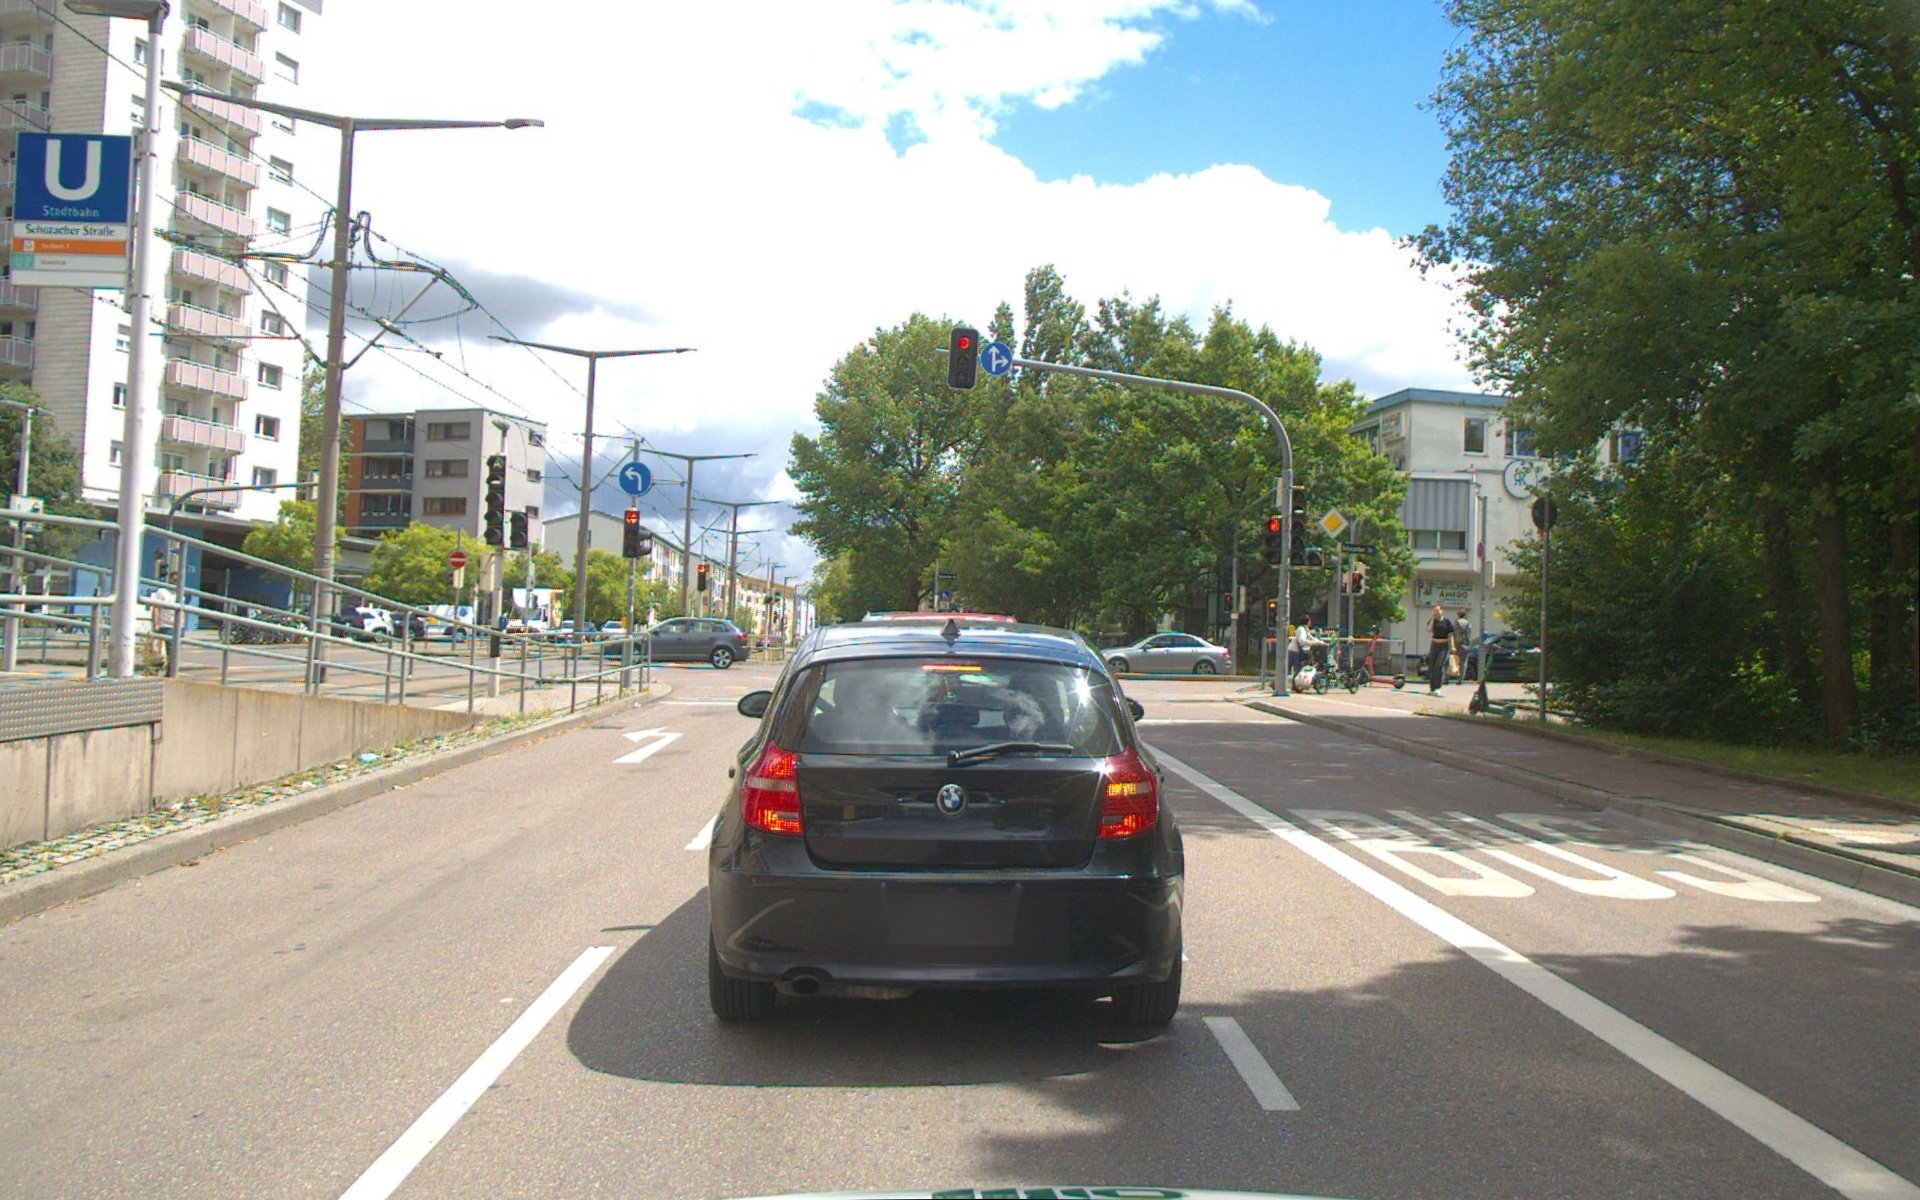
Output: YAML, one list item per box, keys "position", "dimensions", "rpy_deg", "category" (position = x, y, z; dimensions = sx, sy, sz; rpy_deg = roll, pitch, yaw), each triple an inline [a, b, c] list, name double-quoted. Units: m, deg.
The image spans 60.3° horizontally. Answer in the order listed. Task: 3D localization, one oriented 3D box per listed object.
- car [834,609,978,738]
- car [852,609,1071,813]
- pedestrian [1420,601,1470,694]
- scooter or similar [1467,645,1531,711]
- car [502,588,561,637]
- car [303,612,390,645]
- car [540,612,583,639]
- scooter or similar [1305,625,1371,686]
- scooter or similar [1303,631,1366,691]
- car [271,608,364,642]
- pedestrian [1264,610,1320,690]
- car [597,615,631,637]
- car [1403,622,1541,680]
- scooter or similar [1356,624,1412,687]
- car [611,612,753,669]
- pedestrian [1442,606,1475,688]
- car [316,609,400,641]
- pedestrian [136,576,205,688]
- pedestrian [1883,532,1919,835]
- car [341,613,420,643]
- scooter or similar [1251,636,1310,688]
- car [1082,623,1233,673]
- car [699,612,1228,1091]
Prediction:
- position: [-0.682, 0.851, 20.613]
  dimensions: [1.621, 1.443, 3.515]
  rpy_deg: [1, 0, -2]
  category: "car"
- position: [0.013, 0.813, 13.717]
  dimensions: [1.562, 1.443, 3.516]
  rpy_deg: [1, 0, 0]
  category: "car"
- position: [9.837, 0.957, 33.556]
  dimensions: [0.746, 1.821, 0.567]
  rpy_deg: [4, -1, 30]
  category: "pedestrian"
- position: [9.398, 1.360, 28.845]
  dimensions: [1.133, 1.118, 0.329]
  rpy_deg: [1, -1, -25]
  category: "scooter or similar"
- position: [-24.439, 0.713, 94.496]
  dimensions: [2.096, 2.686, 5.356]
  rpy_deg: [1, 0, -2]
  category: "car"
- position: [-28.747, 1.309, 77.576]
  dimensions: [3.537, 1.488, 1.613]
  rpy_deg: [1, 0, -9]
  category: "car"
- position: [-25.631, 1.640, 106.559]
  dimensions: [1.927, 1.624, 3.997]
  rpy_deg: [1, 0, -3]
  category: "car"
- position: [7.582, 1.118, 33.209]
  dimensions: [1.267, 1.210, 0.383]
  rpy_deg: [1, -1, -17]
  category: "scooter or similar"
- position: [7.073, 1.137, 31.181]
  dimensions: [0.403, 1.069, 1.777]
  rpy_deg: [1, 0, 39]
  category: "scooter or similar"
- position: [-28.392, 1.100, 73.189]
  dimensions: [3.537, 1.488, 1.613]
  rpy_deg: [1, 0, -9]
  category: "car"
- position: [6.276, 0.934, 31.252]
  dimensions: [0.848, 1.468, 0.797]
  rpy_deg: [0, -1, 28]
  category: "pedestrian"
- position: [-26.387, 1.953, 126.166]
  dimensions: [1.927, 1.624, 3.997]
  rpy_deg: [1, 0, -3]
  category: "car"
- position: [15.014, 1.488, 48.548]
  dimensions: [3.515, 1.629, 1.706]
  rpy_deg: [1, -1, -13]
  category: "car"
- position: [8.737, 1.138, 34.075]
  dimensions: [1.087, 1.280, 0.331]
  rpy_deg: [1, -1, -13]
  category: "scooter or similar"
- position: [-7.932, 1.153, 47.389]
  dimensions: [3.913, 1.553, 1.672]
  rpy_deg: [1, 0, -9]
  category: "car"
- position: [11.464, 1.073, 38.005]
  dimensions: [0.600, 1.821, 0.569]
  rpy_deg: [4, -1, 18]
  category: "pedestrian"
- position: [-29.383, 1.214, 80.787]
  dimensions: [3.537, 1.488, 1.613]
  rpy_deg: [1, -1, -9]
  category: "car"
- position: [-12.420, 0.494, 26.015]
  dimensions: [0.845, 1.726, 0.685]
  rpy_deg: [1, -1, 41]
  category: "pedestrian"
- position: [6.514, 0.541, 10.300]
  dimensions: [0.785, 1.928, 1.270]
  rpy_deg: [2, -1, 0]
  category: "pedestrian"
- position: [-29.616, 1.434, 84.541]
  dimensions: [3.537, 1.488, 1.613]
  rpy_deg: [1, 0, -9]
  category: "car"
- position: [6.182, 1.195, 31.927]
  dimensions: [1.102, 0.974, 0.299]
  rpy_deg: [1, -1, -17]
  category: "scooter or similar"
- position: [5.953, 1.439, 50.134]
  dimensions: [4.243, 1.419, 1.709]
  rpy_deg: [1, 0, -9]
  category: "car"
- position: [0.043, 0.789, 6.884]
  dimensions: [1.620, 1.443, 3.517]
  rpy_deg: [1, 0, 1]
  category: "car"
